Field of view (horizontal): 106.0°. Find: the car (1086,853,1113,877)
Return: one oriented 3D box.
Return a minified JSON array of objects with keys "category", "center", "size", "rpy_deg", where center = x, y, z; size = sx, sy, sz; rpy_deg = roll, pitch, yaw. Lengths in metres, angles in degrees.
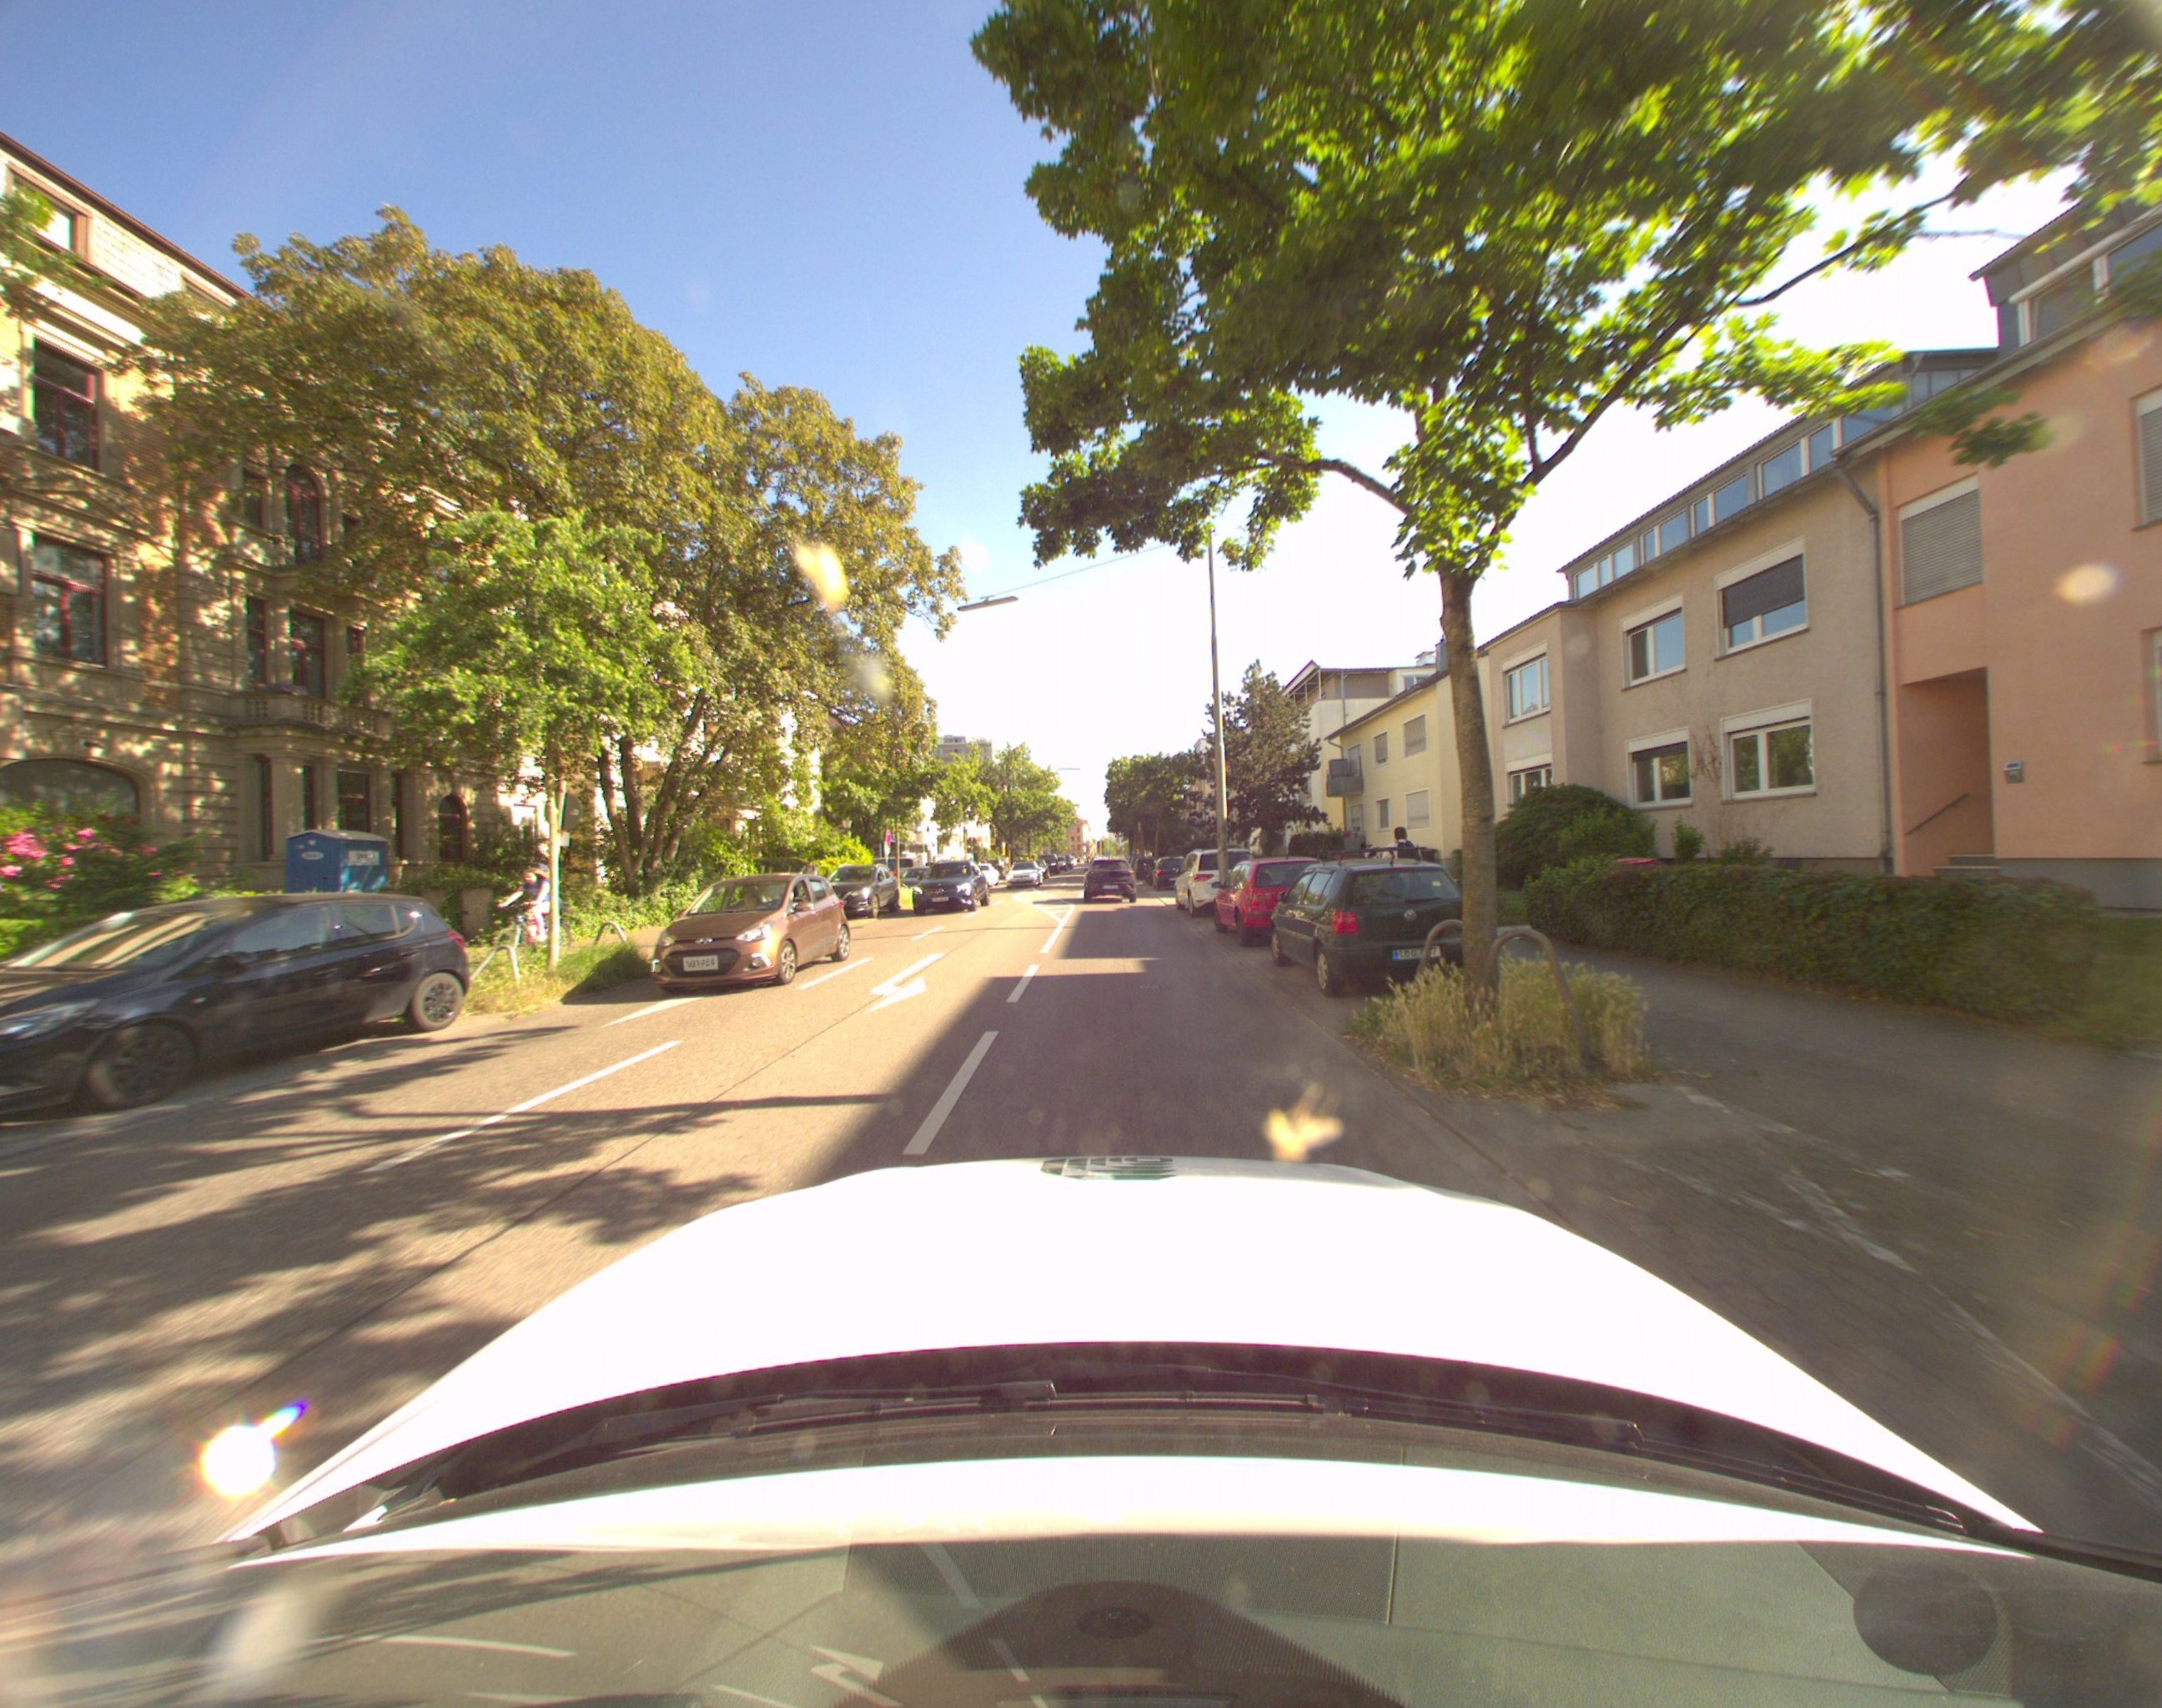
[{"category":"car","center":[1.351,0.767,58.365],"size":[1.823,1.578,3.841],"rpy_deg":[-3,0,2]}]

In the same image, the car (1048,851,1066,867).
[{"category":"car","center":[-2.778,0.586,94.601],"size":[1.809,1.743,4.494],"rpy_deg":[-4,0,1]}]

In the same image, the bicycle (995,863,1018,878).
[{"category":"bicycle","center":[-6.084,1.337,66.372],"size":[1.912,1.135,0.465],"rpy_deg":[-1,0,29]}]

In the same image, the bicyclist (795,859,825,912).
[{"category":"bicyclist","center":[-9.338,1.057,28.091],"size":[0.580,1.767,1.208],"rpy_deg":[0,0,1]}]

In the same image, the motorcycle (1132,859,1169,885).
[{"category":"motorcycle","center":[3.496,0.930,41.316],"size":[0.701,1.271,2.411],"rpy_deg":[-4,0,-26]}]

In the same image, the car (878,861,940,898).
[{"category":"car","center":[-7.229,1.044,34.623],"size":[1.630,1.417,4.091],"rpy_deg":[0,0,2]}]

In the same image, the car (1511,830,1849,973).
[{"category":"car","center":[7.193,0.498,10.306],"size":[1.526,1.356,3.719],"rpy_deg":[-5,0,1]}]

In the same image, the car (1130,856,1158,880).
[{"category":"car","center":[4.058,0.874,53.070],"size":[1.580,1.396,4.456],"rpy_deg":[-4,0,2]}]

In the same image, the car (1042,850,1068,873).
[{"category":"car","center":[-2.416,0.677,76.650],"size":[2.009,1.952,5.179],"rpy_deg":[-4,0,1]}]

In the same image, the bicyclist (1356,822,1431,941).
[{"category":"bicyclist","center":[4.965,0.422,12.996],"size":[0.721,1.793,1.016],"rpy_deg":[-3,0,1]}]

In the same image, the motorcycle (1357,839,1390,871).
[{"category":"motorcycle","center":[13.272,0.060,36.994],"size":[0.634,1.375,2.426],"rpy_deg":[-3,0,2]}]

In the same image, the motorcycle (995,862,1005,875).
[{"category":"motorcycle","center":[-7.012,1.253,70.648],"size":[0.458,1.125,1.722],"rpy_deg":[-1,0,9]}]

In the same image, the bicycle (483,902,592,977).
[{"category":"bicycle","center":[-9.231,1.417,13.907],"size":[0.606,1.073,1.744],"rpy_deg":[-2,0,2]}]

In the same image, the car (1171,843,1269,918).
[{"category":"car","center":[3.493,0.622,21.241],"size":[1.763,1.659,4.340],"rpy_deg":[-3,0,0]}]

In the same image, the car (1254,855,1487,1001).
[{"category":"car","center":[3.237,0.725,9.853],"size":[1.526,1.356,3.719],"rpy_deg":[-3,0,1]}]

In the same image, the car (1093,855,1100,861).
[{"category":"car","center":[4.014,0.986,207.670],"size":[1.765,1.452,3.886],"rpy_deg":[-2,0,1]}]

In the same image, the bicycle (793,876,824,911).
[{"category":"bicycle","center":[-9.350,1.347,27.962],"size":[0.447,1.116,1.765],"rpy_deg":[0,0,1]}]

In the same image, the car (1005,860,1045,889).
[{"category":"car","center":[-3.068,1.115,45.378],"size":[1.727,1.412,4.193],"rpy_deg":[-5,0,2]}]

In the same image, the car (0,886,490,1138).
[{"category":"car","center":[-7.585,1.113,7.249],"size":[1.595,1.477,3.935],"rpy_deg":[-1,0,3]}]

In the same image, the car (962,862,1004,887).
[{"category":"car","center":[-5.992,1.249,50.186],"size":[1.827,1.389,4.803],"rpy_deg":[-1,0,1]}]

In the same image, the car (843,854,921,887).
[{"category":"car","center":[-12.182,0.988,49.871],"size":[4.335,1.879,1.865],"rpy_deg":[-2,0,-24]}]

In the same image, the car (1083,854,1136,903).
[{"category":"car","center":[0.983,0.814,28.560],"size":[1.739,1.573,3.559],"rpy_deg":[-1,0,1]}]

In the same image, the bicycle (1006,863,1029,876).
[{"category":"bicycle","center":[-5.355,1.316,68.658],"size":[2.005,1.091,0.465],"rpy_deg":[-1,0,24]}]

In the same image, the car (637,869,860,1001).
[{"category":"car","center":[-4.609,1.034,11.910],"size":[1.576,1.451,3.745],"rpy_deg":[-4,0,1]}]

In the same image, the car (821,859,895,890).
[{"category":"car","center":[-12.833,1.137,46.851],"size":[3.924,1.644,1.667],"rpy_deg":[-2,0,-23]}]

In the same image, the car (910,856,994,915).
[{"category":"car","center":[-4.063,0.946,26.332],"size":[1.830,1.613,4.401],"rpy_deg":[-4,0,1]}]

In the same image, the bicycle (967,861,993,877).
[{"category":"bicycle","center":[-8.598,1.282,69.302],"size":[2.165,1.193,0.452],"rpy_deg":[-3,-1,25]}]

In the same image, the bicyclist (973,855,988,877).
[{"category":"bicyclist","center":[-8.537,1.008,69.296],"size":[1.041,1.824,0.664],"rpy_deg":[-3,-1,26]}]

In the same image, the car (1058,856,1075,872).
[{"category":"car","center":[-1.887,1.302,105.623],"size":[1.796,1.910,4.713],"rpy_deg":[-5,0,1]}]

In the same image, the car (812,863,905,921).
[{"category":"car","center":[-6.857,1.123,25.534],"size":[1.619,1.588,4.348],"rpy_deg":[-1,0,1]}]

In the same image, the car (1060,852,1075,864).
[{"category":"car","center":[-1.890,0.545,114.617],"size":[1.713,1.566,4.343],"rpy_deg":[-5,0,1]}]

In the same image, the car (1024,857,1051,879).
[{"category":"car","center":[-3.303,1.032,62.629],"size":[1.686,1.453,4.174],"rpy_deg":[-5,0,1]}]

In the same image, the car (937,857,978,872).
[{"category":"car","center":[-12.960,1.066,85.763],"size":[3.973,1.486,1.881],"rpy_deg":[-1,0,0]}]

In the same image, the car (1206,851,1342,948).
[{"category":"car","center":[3.302,0.717,14.593],"size":[1.527,1.449,3.718],"rpy_deg":[-3,0,0]}]

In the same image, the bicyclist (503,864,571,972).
[{"category":"bicyclist","center":[-9.237,1.063,13.843],"size":[0.606,1.754,0.691],"rpy_deg":[-2,0,1]}]

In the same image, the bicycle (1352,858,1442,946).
[{"category":"bicycle","center":[4.993,0.718,13.000],"size":[0.695,1.247,1.822],"rpy_deg":[-3,0,2]}]

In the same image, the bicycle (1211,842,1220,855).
[{"category":"bicycle","center":[14.518,-0.599,88.029],"size":[0.589,1.287,1.690],"rpy_deg":[-5,0,2]}]

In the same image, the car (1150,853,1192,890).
[{"category":"car","center":[4.031,0.752,36.920],"size":[1.613,1.499,3.652],"rpy_deg":[-3,0,3]}]
